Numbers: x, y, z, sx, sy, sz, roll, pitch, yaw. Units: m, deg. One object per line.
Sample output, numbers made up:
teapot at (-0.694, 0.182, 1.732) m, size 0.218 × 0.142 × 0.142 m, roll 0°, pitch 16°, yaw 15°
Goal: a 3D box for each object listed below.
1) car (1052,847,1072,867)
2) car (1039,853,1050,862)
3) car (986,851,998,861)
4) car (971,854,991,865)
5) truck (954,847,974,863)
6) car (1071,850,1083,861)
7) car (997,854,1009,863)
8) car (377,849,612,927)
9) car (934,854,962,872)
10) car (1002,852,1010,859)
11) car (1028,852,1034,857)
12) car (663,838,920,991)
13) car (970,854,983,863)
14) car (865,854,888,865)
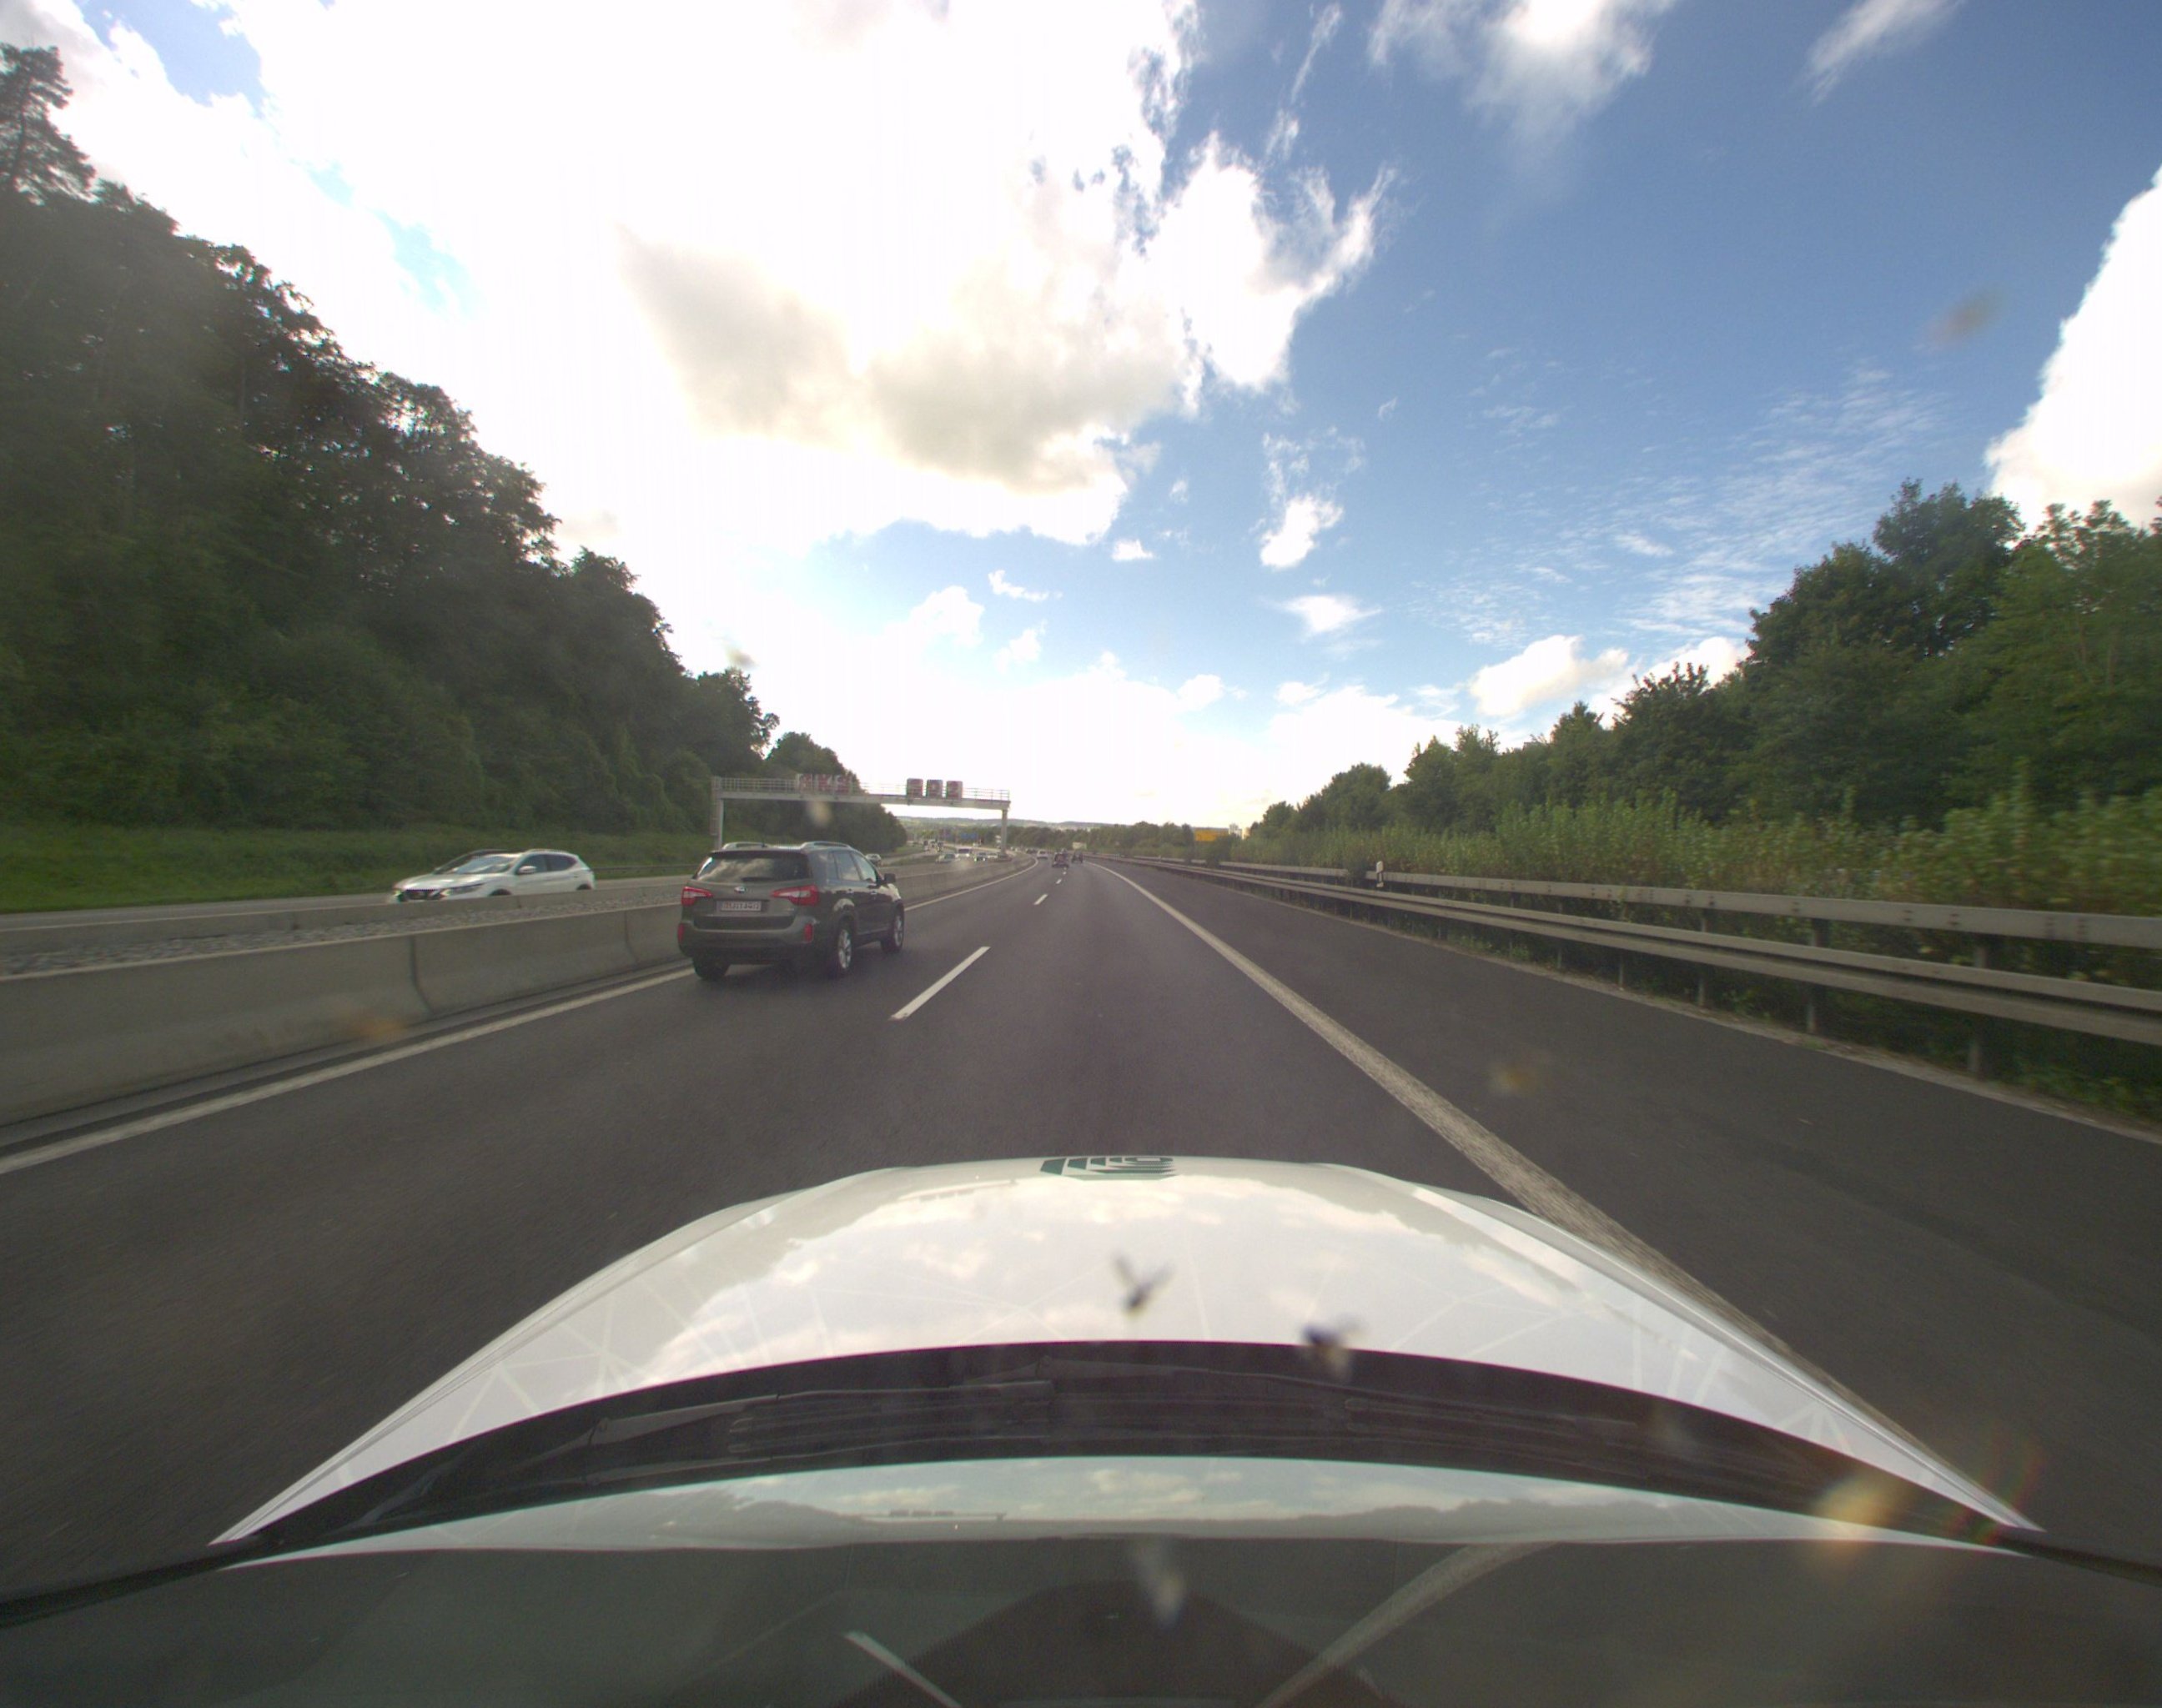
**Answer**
car at (-2.018, 0.311, 87.612) m, size 2.024 × 2.151 × 4.000 m, roll 0°, pitch 1°, yaw 0°
car at (-7.089, 0.685, 157.259) m, size 1.991 × 1.684 × 3.992 m, roll 0°, pitch -1°, yaw -6°
car at (-13.822, 0.337, 126.813) m, size 1.560 × 1.450 × 3.887 m, roll 0°, pitch 0°, yaw -1°
car at (-13.390, 0.719, 109.372) m, size 1.987 × 1.536 × 5.284 m, roll 0°, pitch 0°, yaw 0°
truck at (-17.309, 0.149, 120.949) m, size 2.177 × 2.226 × 5.570 m, roll 0°, pitch 0°, yaw 0°
car at (-0.596, 0.255, 118.997) m, size 1.584 × 1.597 × 4.089 m, roll 0°, pitch 1°, yaw -4°
car at (-15.455, 0.884, 161.096) m, size 1.988 × 1.641 × 3.998 m, roll 0°, pitch 0°, yaw -1°
car at (-12.157, 0.634, 17.306) m, size 1.753 × 1.460 × 4.298 m, roll 0°, pitch 0°, yaw 2°
car at (-11.726, 0.738, 71.950) m, size 1.693 × 1.539 × 4.500 m, roll 0°, pitch 0°, yaw 0°
car at (-19.470, 0.353, 211.003) m, size 1.760 × 1.581 × 4.929 m, roll 0°, pitch 0°, yaw -2°
car at (-15.861, 0.109, 257.239) m, size 1.604 × 1.558 × 3.987 m, roll 0°, pitch -1°, yaw -9°
car at (-3.813, 0.681, 11.885) m, size 1.811 × 1.736 × 5.187 m, roll 0°, pitch 0°, yaw 1°
car at (-17.906, 0.734, 139.965) m, size 1.661 × 1.395 × 4.598 m, roll 0°, pitch 0°, yaw -2°
car at (-24.531, 0.630, 97.804) m, size 1.819 × 1.311 × 4.182 m, roll 0°, pitch 0°, yaw -3°
